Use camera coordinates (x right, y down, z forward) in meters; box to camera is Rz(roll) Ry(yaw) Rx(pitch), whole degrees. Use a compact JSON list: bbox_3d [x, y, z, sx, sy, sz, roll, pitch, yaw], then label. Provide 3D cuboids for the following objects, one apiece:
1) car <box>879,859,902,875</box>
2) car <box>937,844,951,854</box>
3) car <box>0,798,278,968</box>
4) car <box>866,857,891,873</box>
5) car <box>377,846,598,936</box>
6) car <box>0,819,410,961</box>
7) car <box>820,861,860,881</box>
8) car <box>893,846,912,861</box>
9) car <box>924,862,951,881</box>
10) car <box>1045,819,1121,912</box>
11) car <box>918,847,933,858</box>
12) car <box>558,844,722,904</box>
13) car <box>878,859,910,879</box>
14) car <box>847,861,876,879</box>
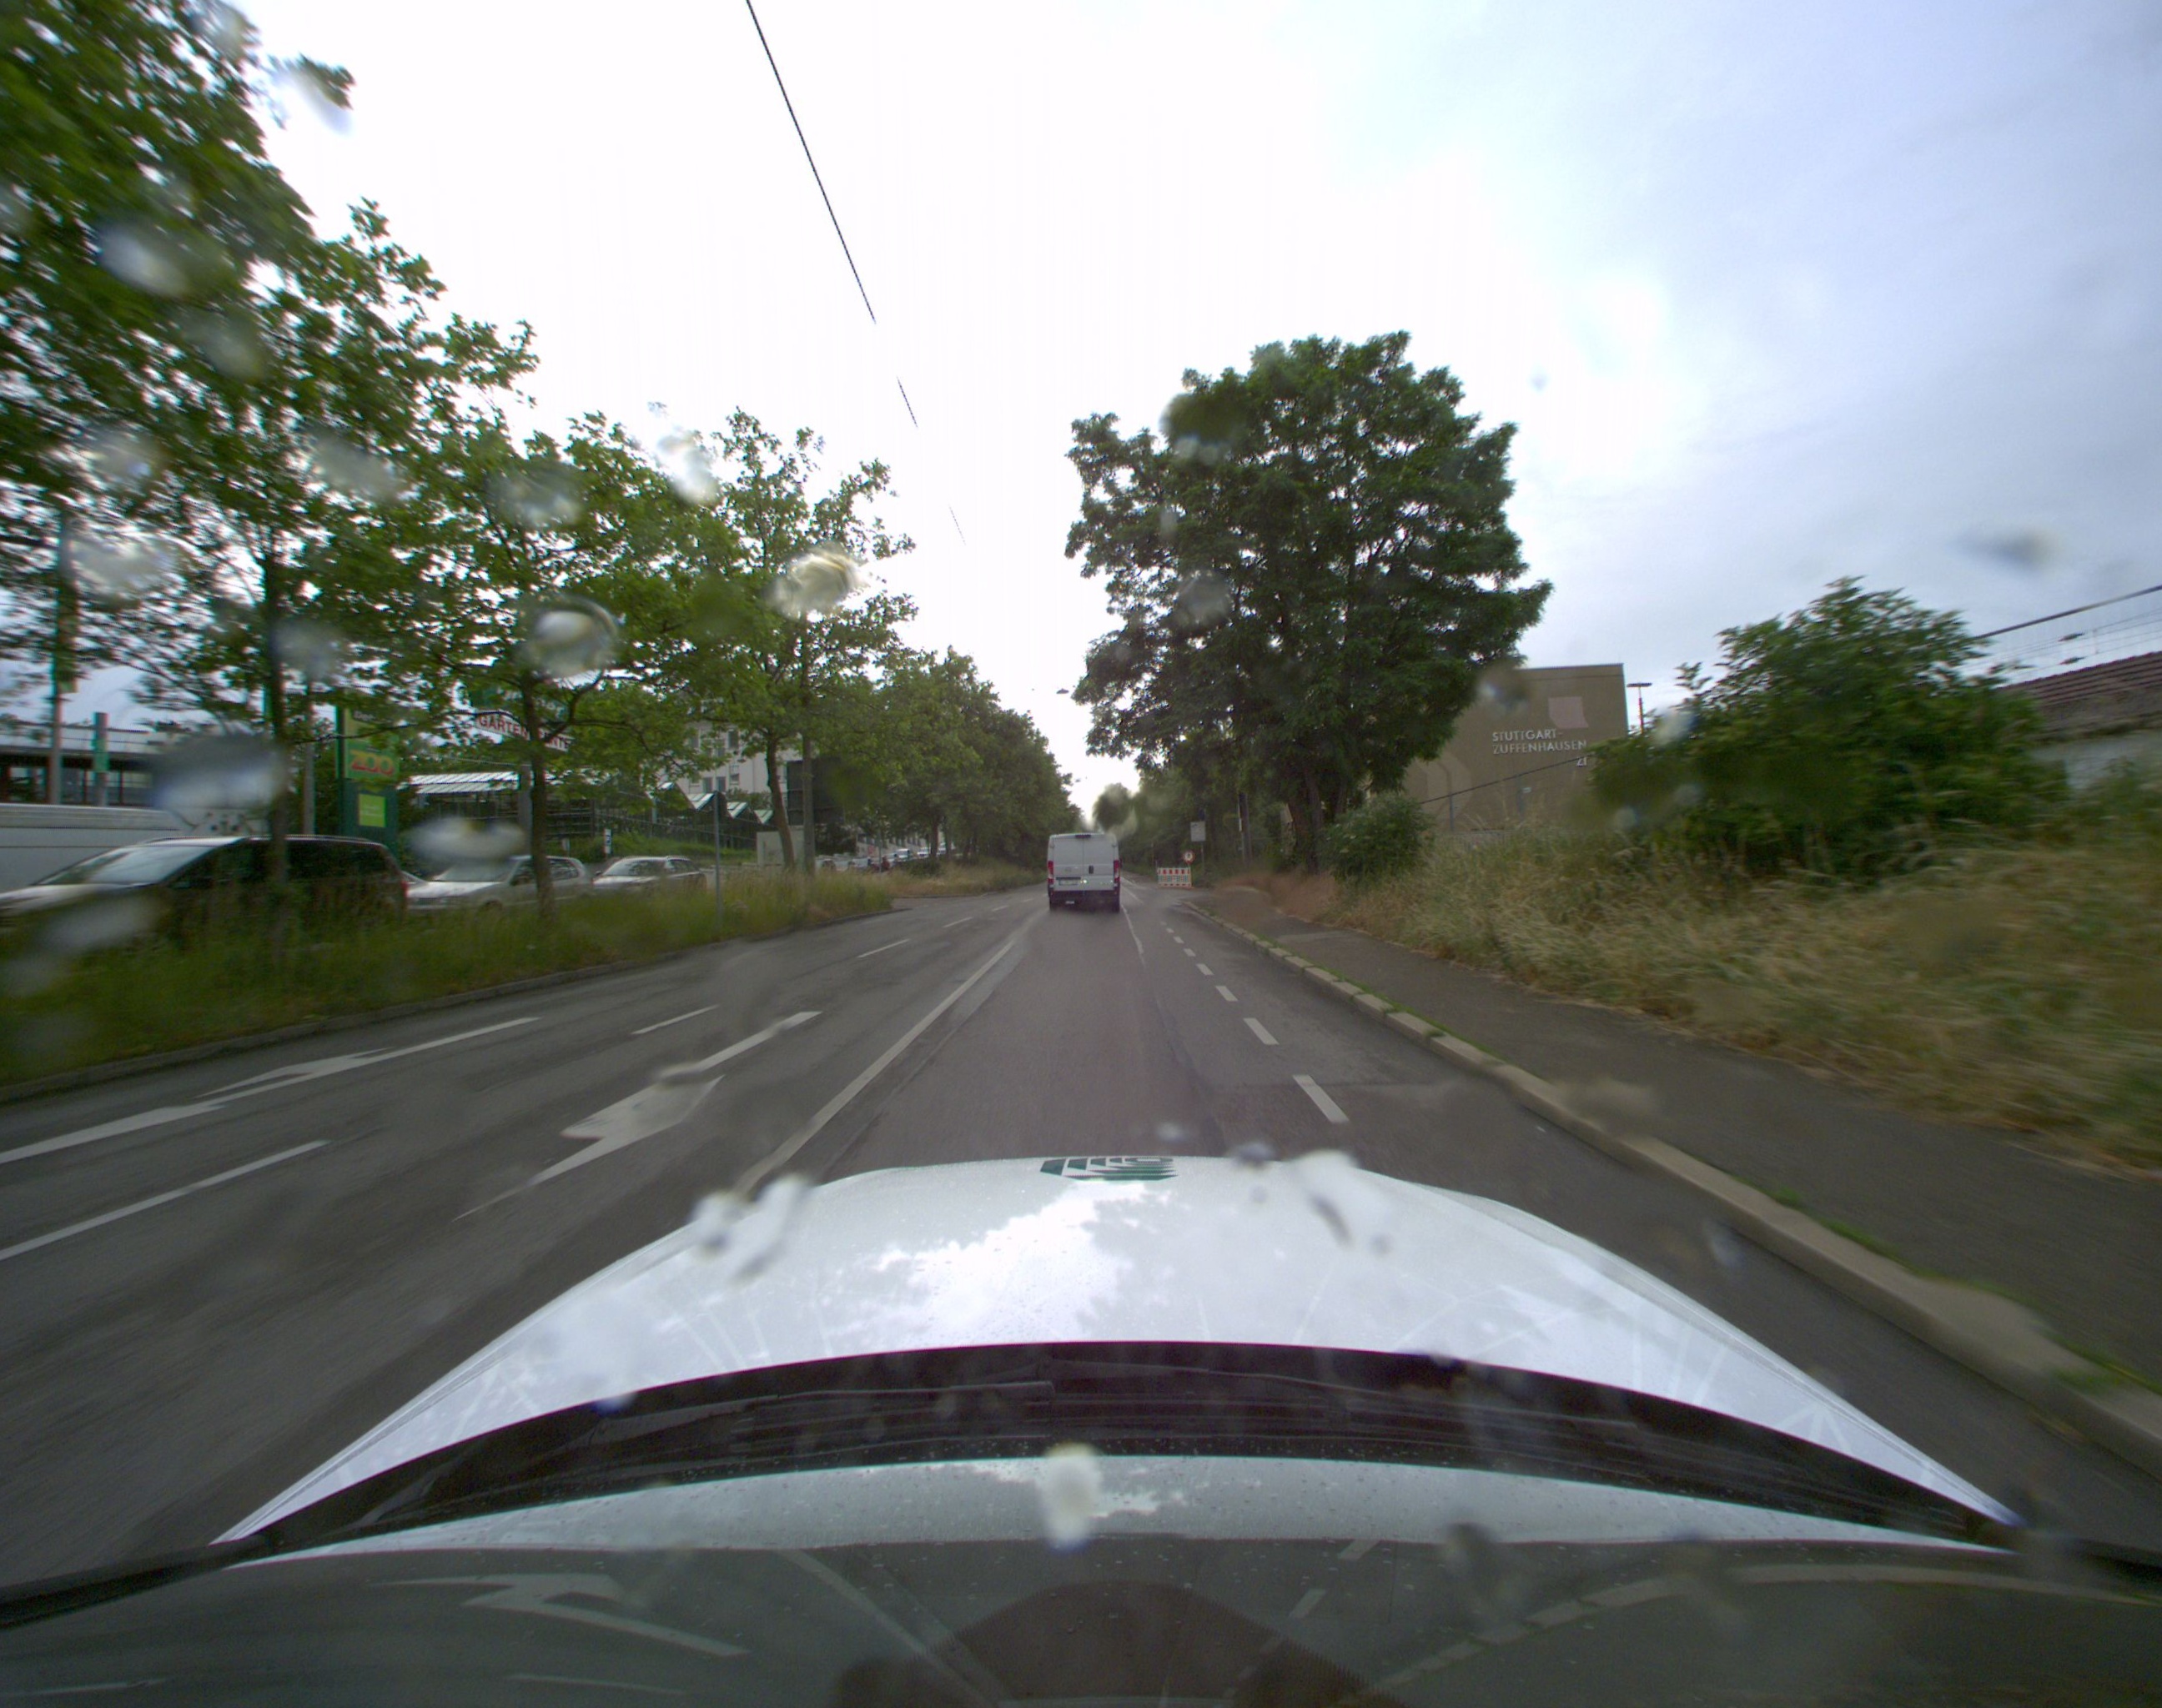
[{"bbox_3d":[-17.873,1.220,76.485,1.355,1.310,3.086,-3,-3,1],"label":"car"},{"bbox_3d":[-19.033,-0.669,113.337,1.595,1.250,2.908,-2,-3,-2],"label":"car"},{"bbox_3d":[-16.637,0.451,13.056,1.958,2.443,5.650,-3,0,-3],"label":"car"},{"bbox_3d":[-17.656,0.973,71.061,1.355,1.310,3.086,-3,-3,1],"label":"car"},{"bbox_3d":[-10.781,0.679,15.128,1.356,1.395,3.707,-3,-3,0],"label":"car"},{"bbox_3d":[-10.967,0.467,10.454,1.648,1.452,3.645,-3,-3,0],"label":"car"},{"bbox_3d":[-17.810,1.264,60.293,1.810,1.291,4.118,-2,-3,-2],"label":"car"},{"bbox_3d":[-18.054,-0.005,82.445,1.379,1.298,3.012,-2,-3,-2],"label":"car"},{"bbox_3d":[-11.187,1.419,63.593,1.430,1.361,3.174,-3,-3,0],"label":"car"},{"bbox_3d":[0.109,0.324,24.783,2.043,2.516,4.944,1,0,1],"label":"car"},{"bbox_3d":[-18.492,-0.155,96.840,1.209,1.133,2.452,-3,-3,1],"label":"car"},{"bbox_3d":[-10.917,0.541,20.565,1.532,1.293,4.545,-3,-3,2],"label":"car"},{"bbox_3d":[-11.520,0.948,50.164,1.346,1.131,2.750,-2,-3,-1],"label":"car"},{"bbox_3d":[-17.592,1.337,65.504,1.460,1.291,3.302,-2,-3,-2],"label":"car"}]
